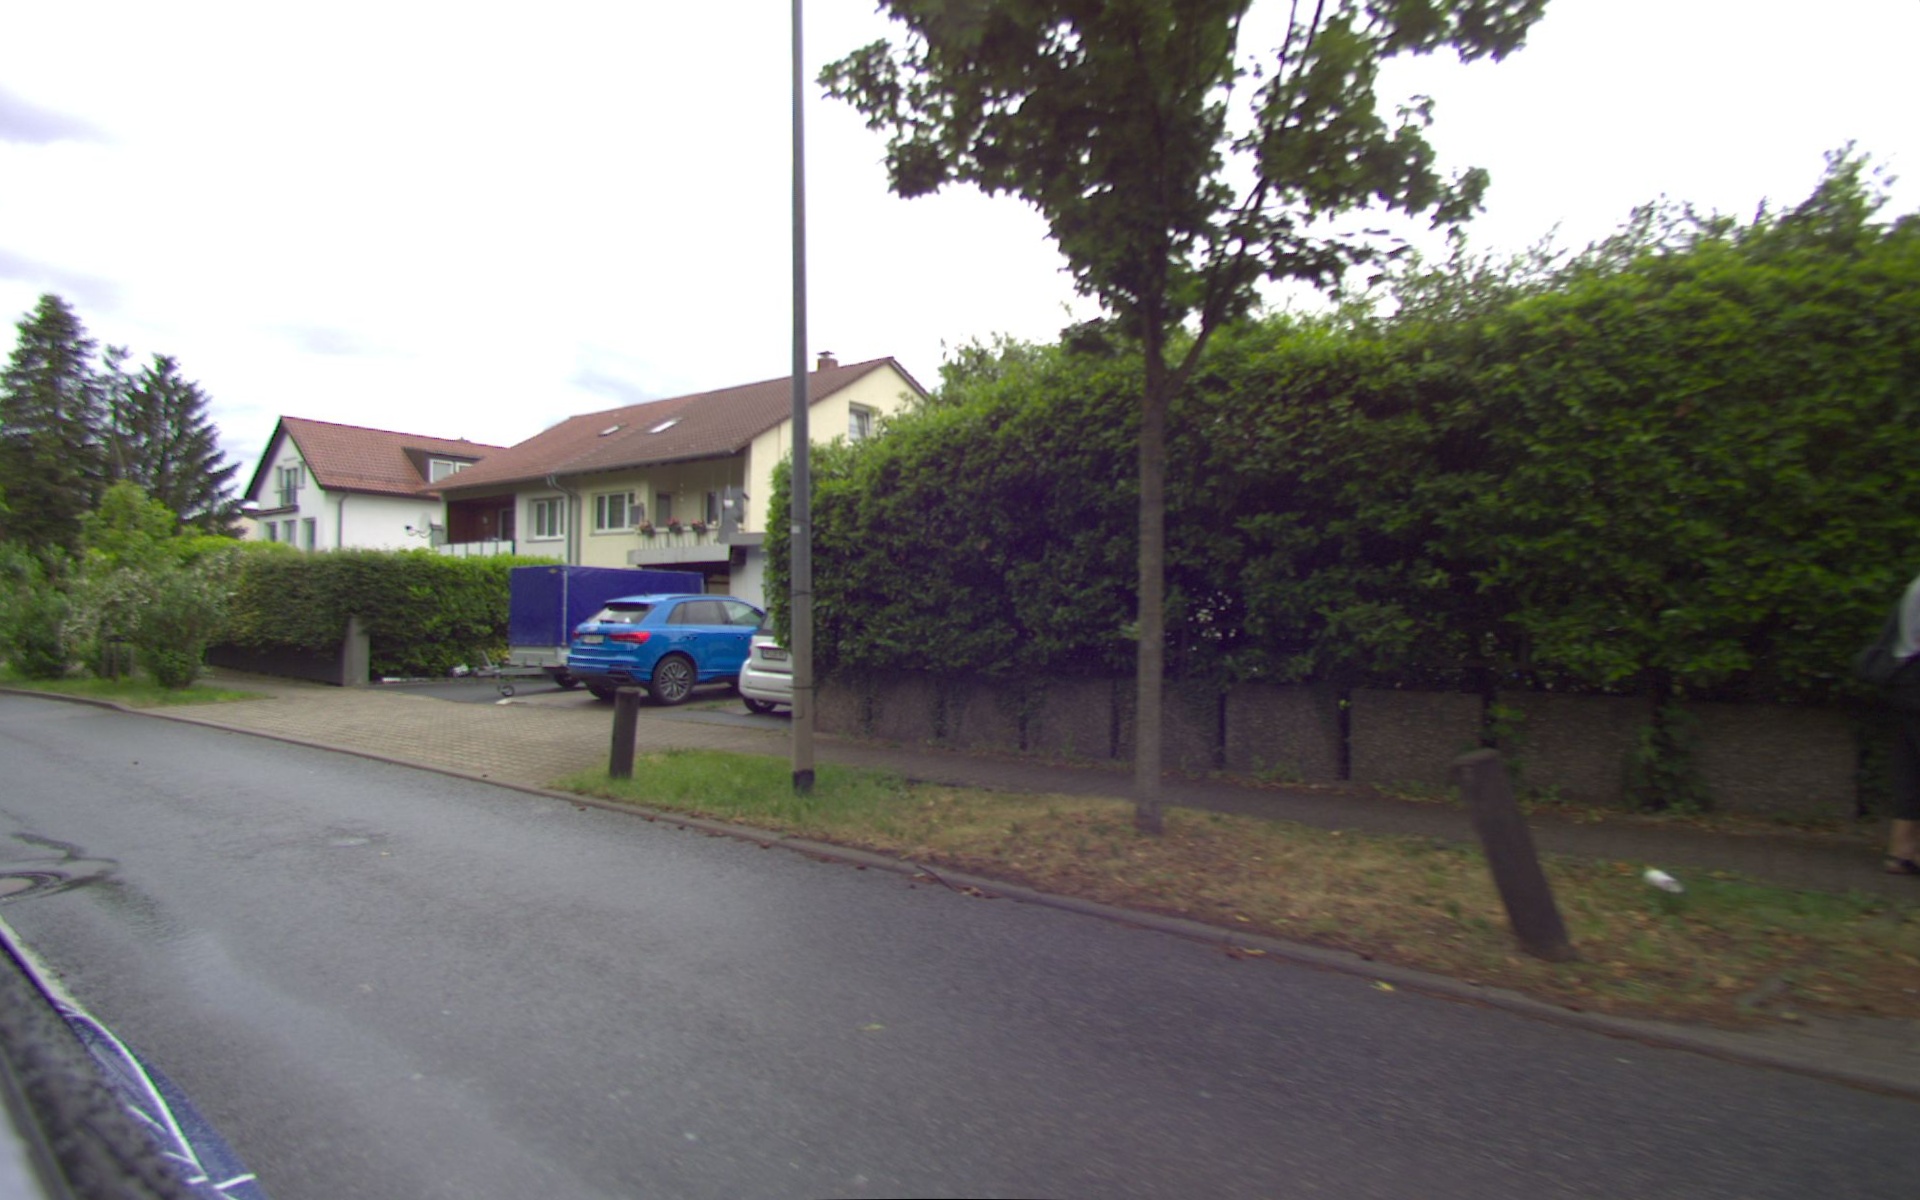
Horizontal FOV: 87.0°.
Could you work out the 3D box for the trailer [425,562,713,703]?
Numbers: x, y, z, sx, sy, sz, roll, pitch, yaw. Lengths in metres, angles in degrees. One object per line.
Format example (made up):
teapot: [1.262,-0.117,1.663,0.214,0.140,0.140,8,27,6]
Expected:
trailer: [-6.818,0.487,18.134,1.811,2.188,4.579,-1,0,36]

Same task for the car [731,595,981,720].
car: [-1.375,0.709,14.384,1.727,1.530,3.373,-1,0,36]

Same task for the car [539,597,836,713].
car: [-4.160,0.754,16.044,2.048,1.551,4.200,-1,0,36]

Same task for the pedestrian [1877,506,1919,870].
pedestrian: [4.786,0.401,4.484,0.838,1.674,0.773,-1,0,25]
